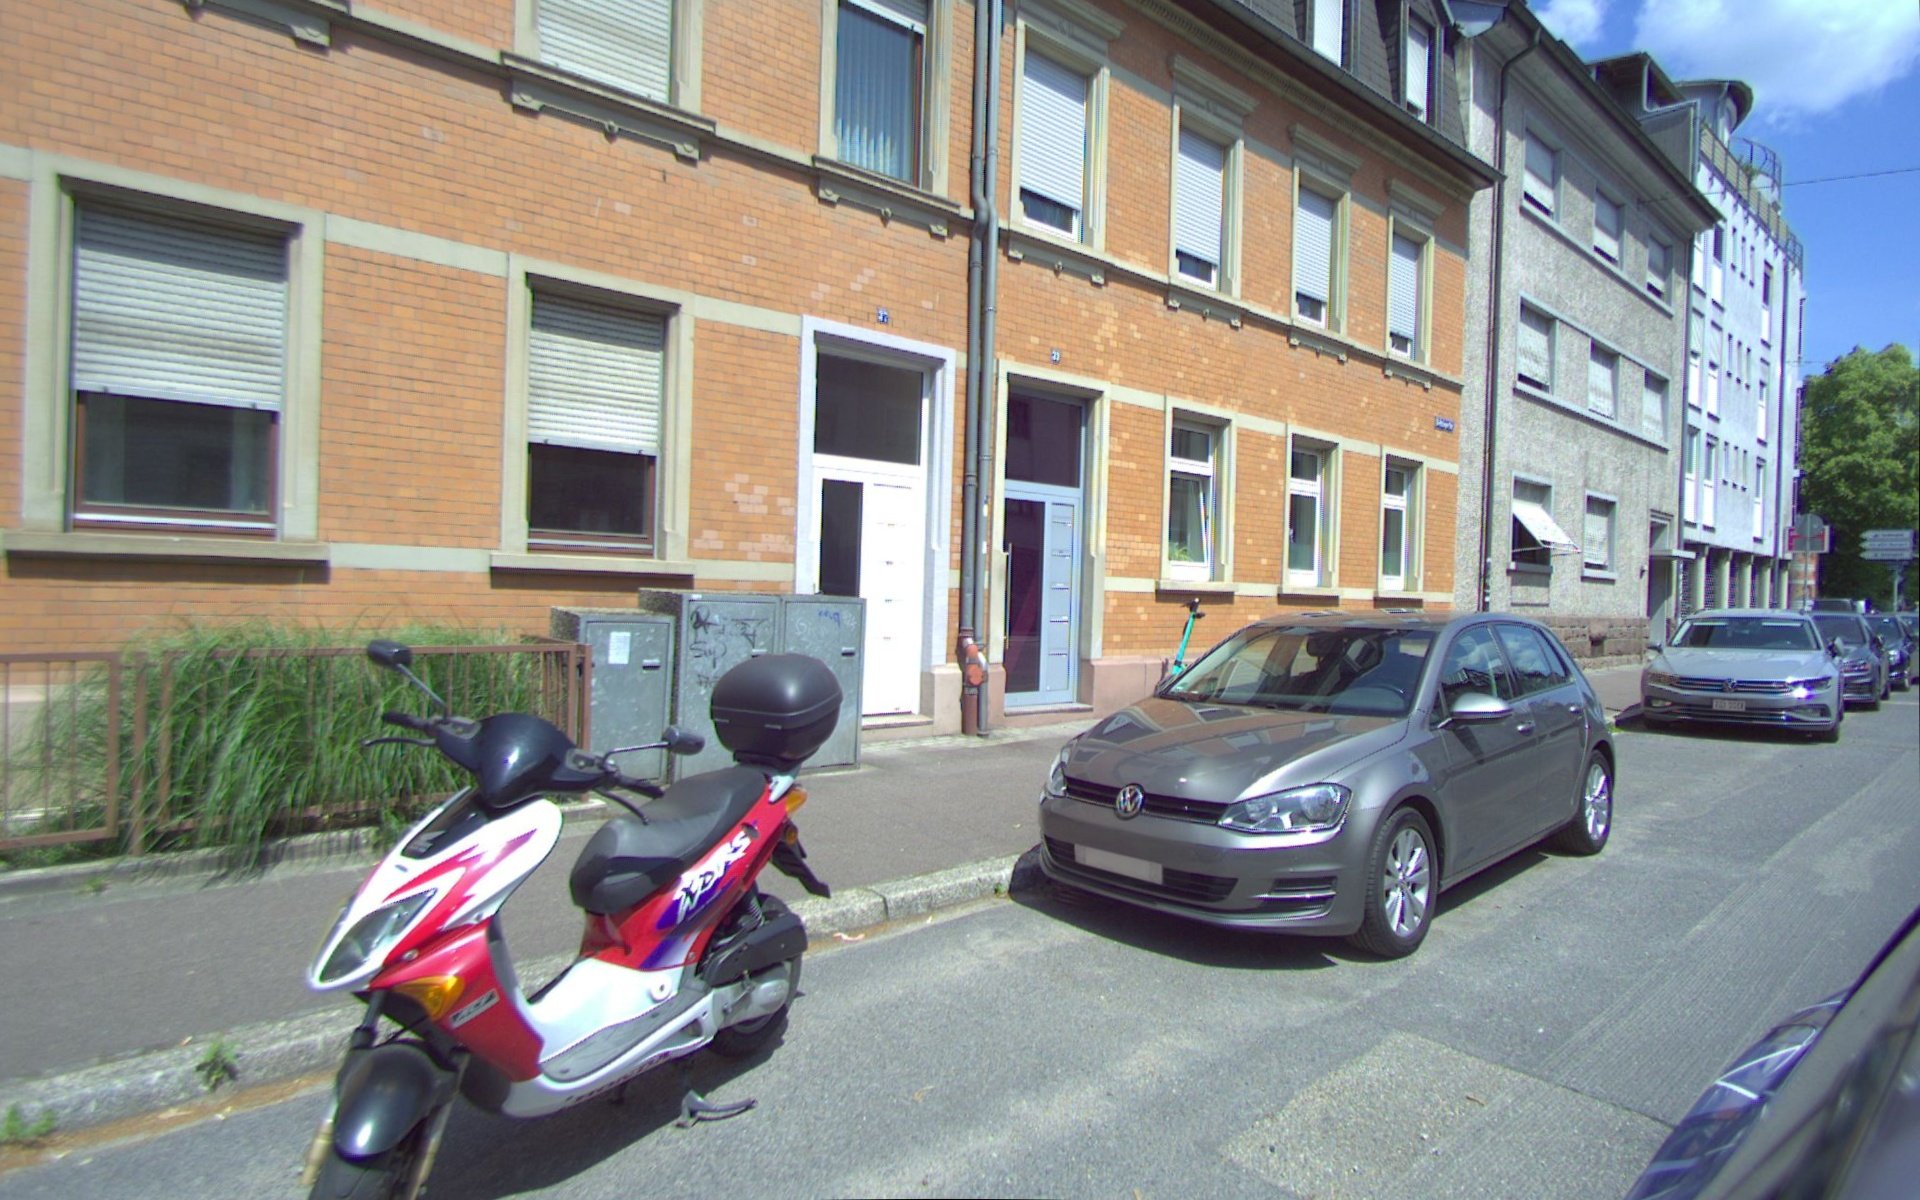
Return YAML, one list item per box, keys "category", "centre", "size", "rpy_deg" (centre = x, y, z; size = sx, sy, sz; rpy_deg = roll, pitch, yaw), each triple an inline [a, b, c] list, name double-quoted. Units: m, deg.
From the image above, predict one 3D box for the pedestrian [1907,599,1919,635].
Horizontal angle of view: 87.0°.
- category: "pedestrian"
  centre: [48.516, 0.862, 51.306]
  size: [0.725, 1.786, 0.618]
  rpy_deg: [1, 1, -43]

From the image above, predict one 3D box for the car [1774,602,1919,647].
- category: "car"
  centre: [32.532, 0.855, 36.602]
  size: [1.967, 1.382, 4.586]
  rpy_deg: [1, 1, -44]

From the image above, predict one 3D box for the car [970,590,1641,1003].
- category: "car"
  centre: [2.137, 0.682, 5.540]
  size: [4.095, 1.398, 1.703]
  rpy_deg: [0, 2, -42]

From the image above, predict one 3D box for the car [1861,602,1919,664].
- category: "car"
  centre: [24.395, 0.807, 25.919]
  size: [4.074, 1.473, 1.679]
  rpy_deg: [1, 0, -44]

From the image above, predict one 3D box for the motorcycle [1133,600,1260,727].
- category: "motorcycle"
  centre: [2.517, 0.636, 10.718]
  size: [1.337, 1.240, 0.597]
  rpy_deg: [0, 2, -41]

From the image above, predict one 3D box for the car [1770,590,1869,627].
- category: "car"
  centre: [44.402, 0.422, 52.296]
  size: [3.764, 1.687, 1.637]
  rpy_deg: [4, 2, 44]

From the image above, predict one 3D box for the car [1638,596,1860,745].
- category: "car"
  centre: [10.049, 0.721, 12.750]
  size: [1.853, 1.481, 4.481]
  rpy_deg: [2, 2, 42]

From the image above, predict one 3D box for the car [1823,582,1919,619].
- category: "car"
  centre: [60.203, 0.003, 66.858]
  size: [2.069, 2.305, 4.610]
  rpy_deg: [1, 0, -41]

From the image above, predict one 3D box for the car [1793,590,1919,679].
- category: "car"
  centre: [17.883, 0.624, 19.824]
  size: [4.361, 1.491, 1.715]
  rpy_deg: [1, 2, -41]

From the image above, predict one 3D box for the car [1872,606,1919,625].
- category: "car"
  centre: [73.074, 1.202, 78.163]
  size: [3.831, 1.375, 1.606]
  rpy_deg: [2, 1, 40]

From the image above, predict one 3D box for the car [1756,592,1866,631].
- category: "car"
  centre: [42.560, 0.538, 50.658]
  size: [1.982, 1.772, 3.992]
  rpy_deg: [0, 2, -43]

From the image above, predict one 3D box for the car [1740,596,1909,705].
- category: "car"
  centre: [13.677, 0.708, 15.933]
  size: [3.982, 1.437, 1.653]
  rpy_deg: [1, 2, -45]

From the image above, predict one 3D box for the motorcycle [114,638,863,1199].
- category: "motorcycle"
  centre: [-0.890, 0.775, 2.699]
  size: [1.091, 1.240, 1.997]
  rpy_deg: [1, 0, -1]
